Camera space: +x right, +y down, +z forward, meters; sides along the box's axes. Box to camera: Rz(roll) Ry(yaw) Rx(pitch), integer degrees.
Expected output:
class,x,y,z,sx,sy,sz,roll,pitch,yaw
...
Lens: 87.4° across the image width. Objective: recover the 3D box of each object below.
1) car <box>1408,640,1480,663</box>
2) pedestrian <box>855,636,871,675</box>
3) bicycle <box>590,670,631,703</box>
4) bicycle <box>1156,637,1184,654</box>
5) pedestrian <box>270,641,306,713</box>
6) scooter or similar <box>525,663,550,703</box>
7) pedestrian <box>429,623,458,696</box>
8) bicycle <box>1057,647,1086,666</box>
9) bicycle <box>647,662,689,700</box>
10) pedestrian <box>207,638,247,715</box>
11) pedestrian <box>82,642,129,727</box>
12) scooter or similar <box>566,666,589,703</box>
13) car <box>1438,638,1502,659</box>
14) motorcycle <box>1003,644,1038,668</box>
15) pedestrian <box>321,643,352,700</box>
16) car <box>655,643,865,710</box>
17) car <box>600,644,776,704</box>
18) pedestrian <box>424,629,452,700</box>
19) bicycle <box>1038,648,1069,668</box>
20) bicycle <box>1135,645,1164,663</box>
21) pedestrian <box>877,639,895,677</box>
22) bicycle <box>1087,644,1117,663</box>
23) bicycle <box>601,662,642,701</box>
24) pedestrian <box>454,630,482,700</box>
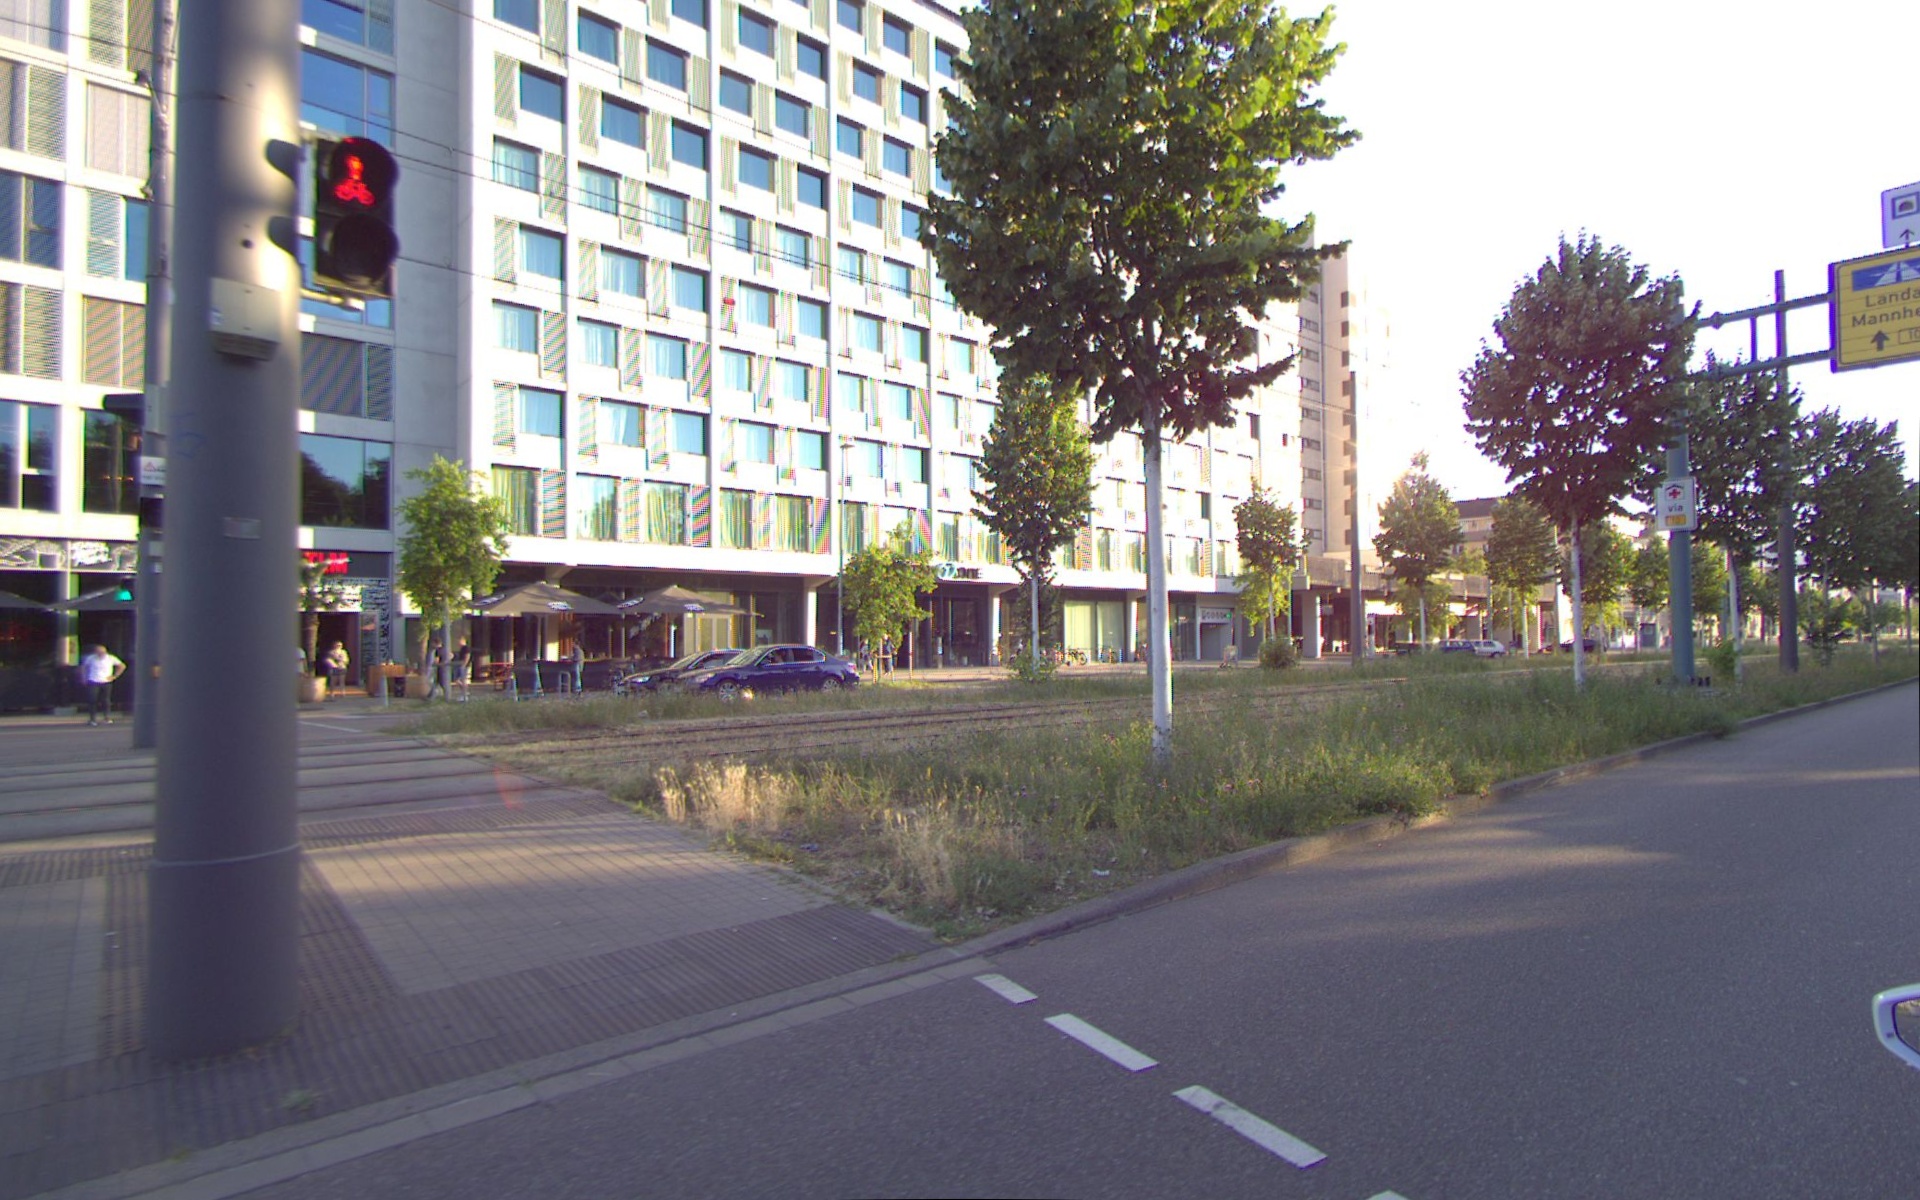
class,x,y,z,sx,sy,sz,roll,pitch,yaw
car,34.456,3.642,71.552,4.198,1.611,2.011,0,-2,9
pedestrian,-4.245,2.446,44.053,0.512,1.678,0.425,1,0,-40
bicycle,-10.661,2.629,30.623,0.440,0.882,1.846,1,-1,-44
bicycle,12.878,2.791,61.655,0.418,1.033,1.769,1,-3,-45
pedestrian,-17.810,2.015,26.620,0.702,1.846,0.610,1,0,-39
scooter or similar,-12.358,2.421,29.345,0.335,1.099,0.964,5,-2,-40
pedestrian,-14.536,1.678,28.284,0.541,2.040,0.502,-1,-2,0
bicycle,6.095,3.092,54.884,0.418,1.033,1.725,1,-3,-45
bicycle,-9.255,2.550,31.783,0.440,1.073,1.890,1,-1,-44
pedestrian,-18.402,1.906,25.218,0.676,1.860,0.699,2,-1,-43
pedestrian,-19.323,1.890,22.705,0.757,1.860,0.699,1,0,-43
scooter or similar,-11.386,2.512,29.900,0.289,1.047,0.998,3,-3,-40
car,38.541,3.667,76.043,4.048,1.455,1.826,1,-1,17
motorcycle,3.159,2.922,52.550,1.866,1.187,0.514,-1,-2,34
pedestrian,-18.245,2.081,29.388,0.701,1.625,0.674,1,0,-35
car,-4.856,1.843,24.876,4.765,1.459,1.997,1,-5,-42
car,-7.236,1.953,26.976,4.194,1.458,1.868,2,-5,-43
pedestrian,-15.213,1.875,29.276,0.541,2.040,0.502,-1,-2,0
bicycle,4.963,3.058,53.417,0.418,1.033,1.769,1,-3,-45
bicycle,11.167,3.173,59.197,0.418,1.033,1.769,1,-3,-45
pedestrian,-3.239,2.504,43.789,0.599,1.621,0.492,1,0,-40
bicycle,8.012,3.021,56.792,0.418,1.033,1.769,1,-3,-45
bicycle,-10.479,2.501,31.075,0.440,1.073,1.890,1,-1,-44
pedestrian,-14.431,1.894,29.466,0.541,2.040,0.502,-1,-2,0
